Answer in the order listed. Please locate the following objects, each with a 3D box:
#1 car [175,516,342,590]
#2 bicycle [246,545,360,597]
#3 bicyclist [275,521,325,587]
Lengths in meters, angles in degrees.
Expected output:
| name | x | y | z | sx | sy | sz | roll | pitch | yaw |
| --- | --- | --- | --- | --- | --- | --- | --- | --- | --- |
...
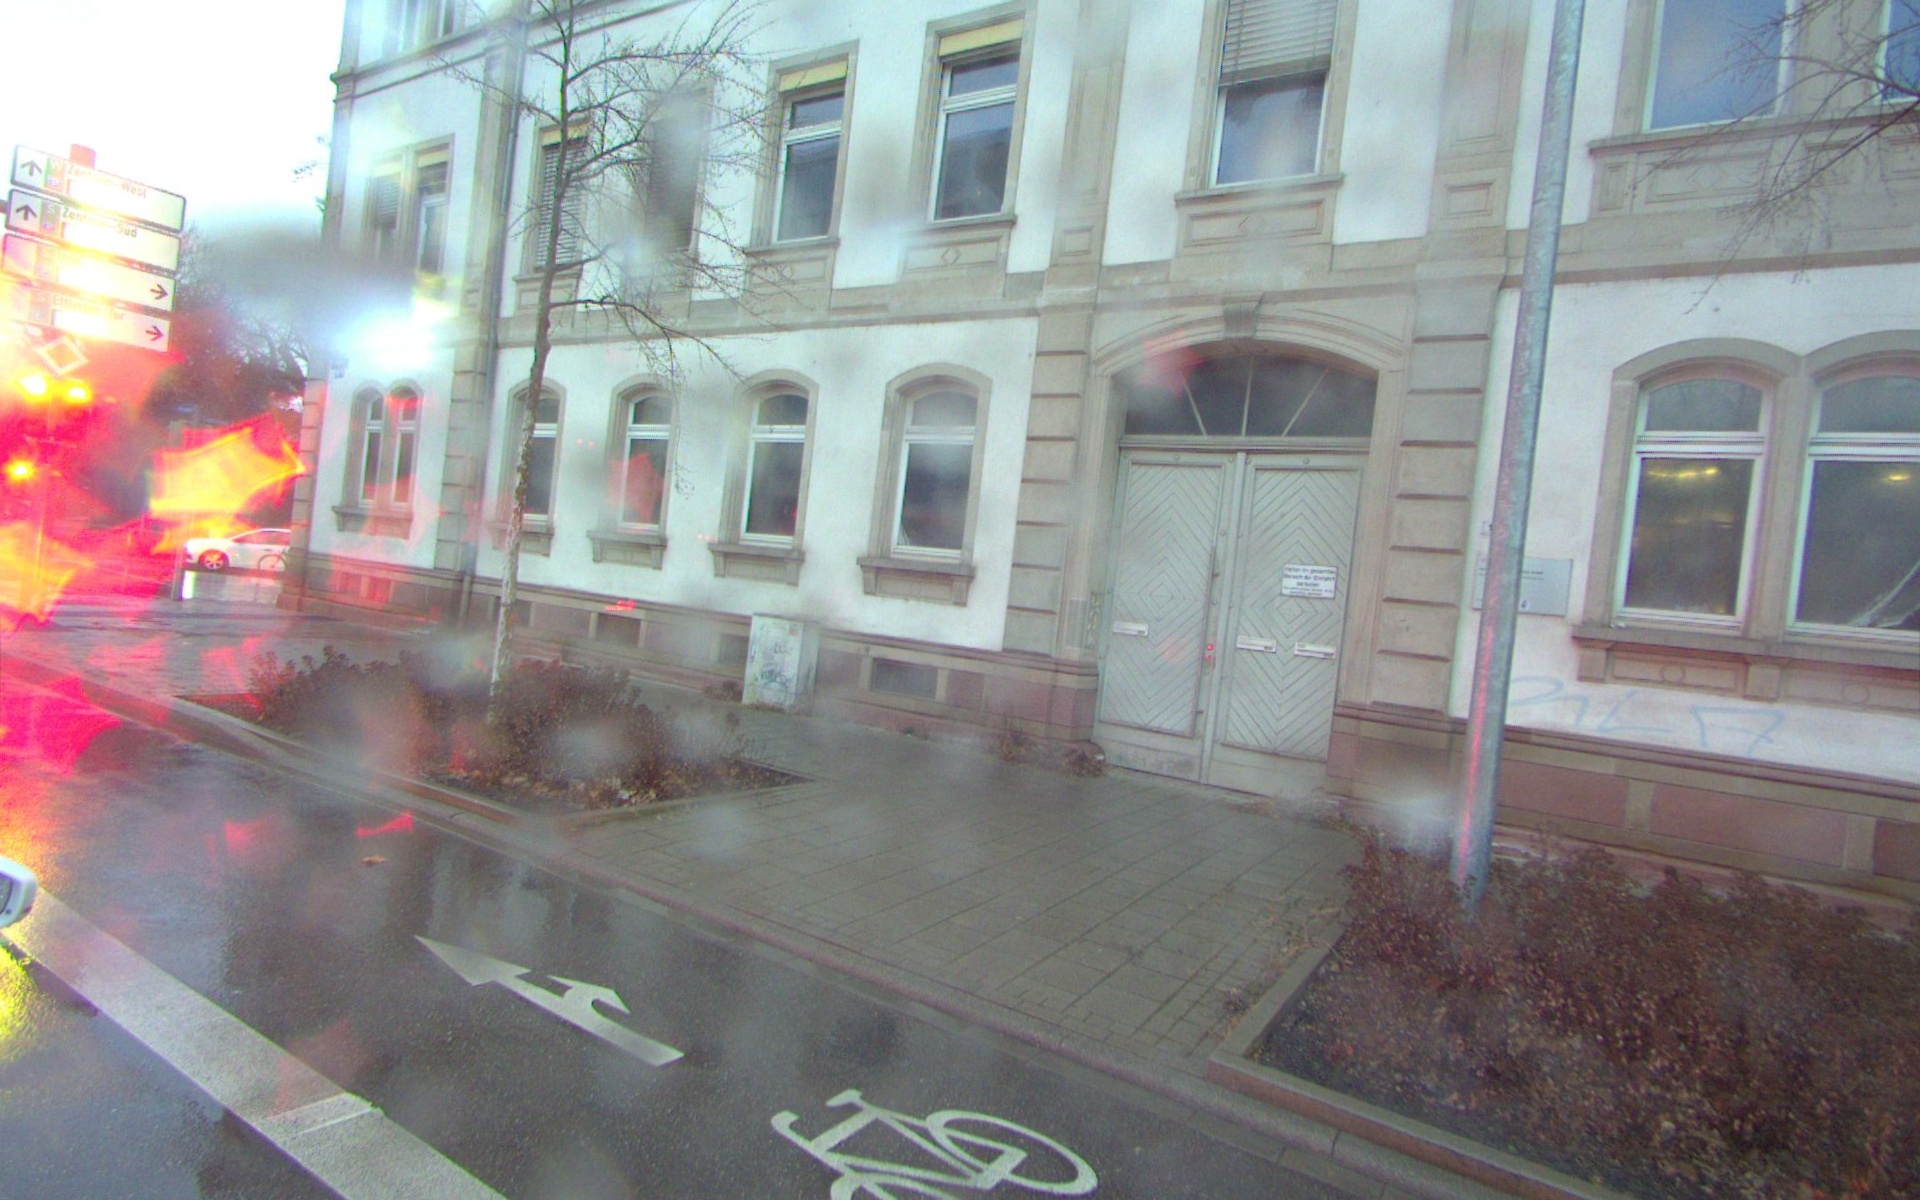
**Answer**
| name | x | y | z | sx | sy | sz | roll | pitch | yaw |
| --- | --- | --- | --- | --- | --- | --- | --- | --- | --- |
| car | -21.269 | -1.386 | 30.599 | 3.936 | 1.571 | 1.732 | 9 | -3 | -37 |
| bicycle | -19.214 | -0.832 | 29.471 | 2.657 | 1.101 | 0.806 | 9 | -3 | -40 |
| bicyclist | -19.281 | -1.340 | 29.376 | 0.968 | 1.778 | 0.805 | 8 | -2 | -39 |
